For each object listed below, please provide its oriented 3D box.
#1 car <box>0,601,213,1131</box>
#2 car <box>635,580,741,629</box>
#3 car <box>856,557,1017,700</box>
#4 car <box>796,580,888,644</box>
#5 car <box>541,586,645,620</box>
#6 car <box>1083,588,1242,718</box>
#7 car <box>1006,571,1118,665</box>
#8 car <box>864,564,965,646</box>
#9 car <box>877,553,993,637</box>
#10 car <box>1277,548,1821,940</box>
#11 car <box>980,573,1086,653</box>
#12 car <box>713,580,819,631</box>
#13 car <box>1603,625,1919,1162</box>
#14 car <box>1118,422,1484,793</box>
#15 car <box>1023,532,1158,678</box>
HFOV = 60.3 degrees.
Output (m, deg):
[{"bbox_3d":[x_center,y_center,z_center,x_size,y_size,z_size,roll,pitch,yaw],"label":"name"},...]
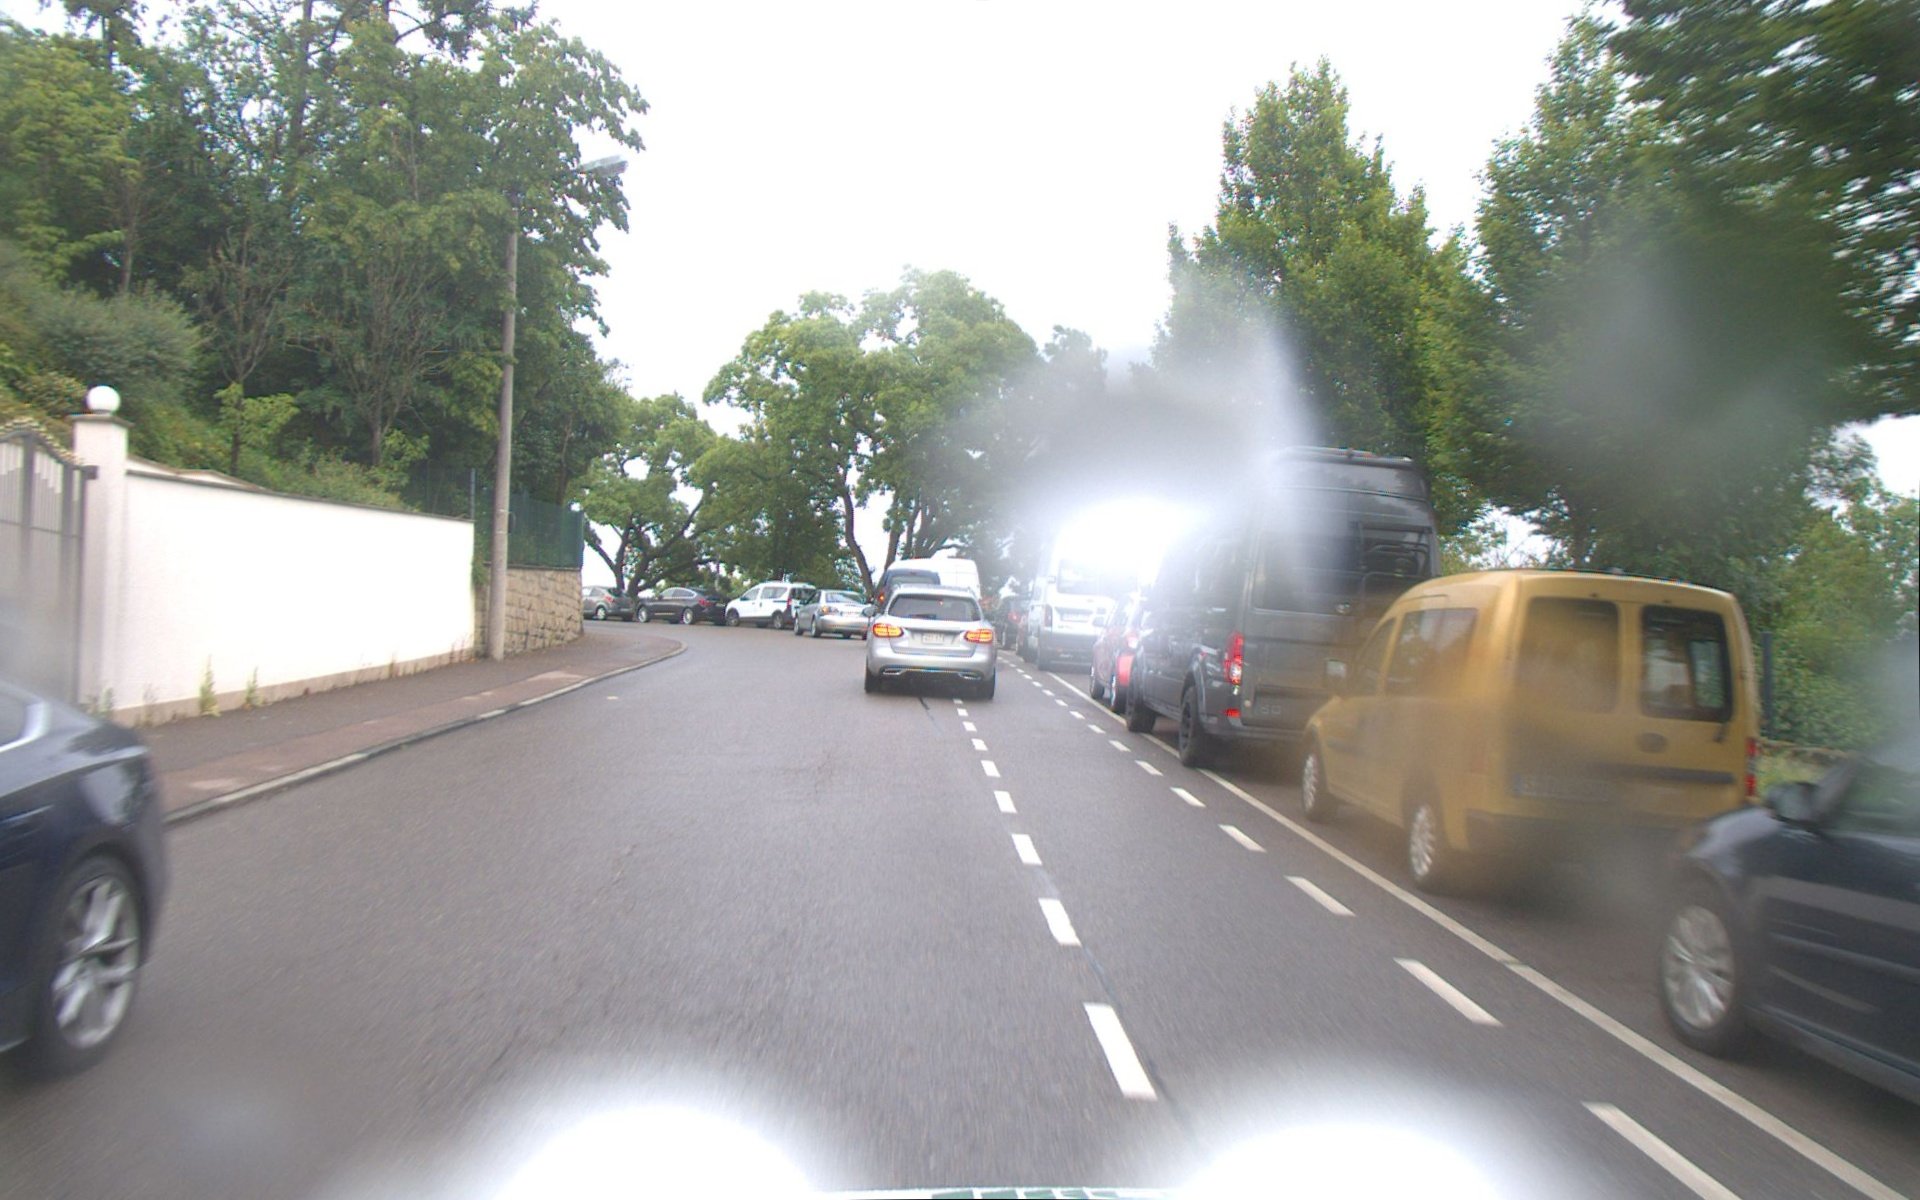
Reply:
[{"bbox_3d":[-3.356,0.728,3.473,1.713,1.381,4.423,0,1,-2],"label":"car"},{"bbox_3d":[-11.370,0.180,68.994,4.590,1.727,1.958,4,1,43],"label":"car"},{"bbox_3d":[-0.370,0.345,23.201,1.984,1.738,4.214,3,0,-2],"label":"car"},{"bbox_3d":[-3.568,0.356,49.422,1.960,1.738,3.984,3,-1,-15],"label":"car"},{"bbox_3d":[-16.102,0.129,72.453,4.403,1.426,1.965,0,1,34],"label":"car"},{"bbox_3d":[2.710,0.664,22.840,1.551,1.554,3.584,3,1,-2],"label":"car"},{"bbox_3d":[2.353,0.369,39.373,2.023,1.994,4.493,3,1,-3],"label":"car"},{"bbox_3d":[-1.135,0.125,39.147,1.956,1.738,3.994,3,-1,-7],"label":"car"},{"bbox_3d":[-0.900,-0.208,55.491,2.099,2.570,4.460,3,1,-26],"label":"car"},{"bbox_3d":[3.356,0.701,10.398,1.693,1.816,4.275,5,0,-1],"label":"car"},{"bbox_3d":[1.978,0.314,46.225,2.026,1.994,4.488,3,1,-9],"label":"car"},{"bbox_3d":[-7.733,0.188,65.609,1.953,1.727,4.429,3,1,-41],"label":"car"},{"bbox_3d":[3.604,0.930,4.763,1.638,1.483,4.222,5,0,-2],"label":"car"},{"bbox_3d":[3.094,0.032,16.515,2.082,2.937,5.767,3,0,-3],"label":"car"},{"bbox_3d":[2.471,0.070,32.469,2.022,2.537,4.758,3,0,-1],"label":"car"}]
